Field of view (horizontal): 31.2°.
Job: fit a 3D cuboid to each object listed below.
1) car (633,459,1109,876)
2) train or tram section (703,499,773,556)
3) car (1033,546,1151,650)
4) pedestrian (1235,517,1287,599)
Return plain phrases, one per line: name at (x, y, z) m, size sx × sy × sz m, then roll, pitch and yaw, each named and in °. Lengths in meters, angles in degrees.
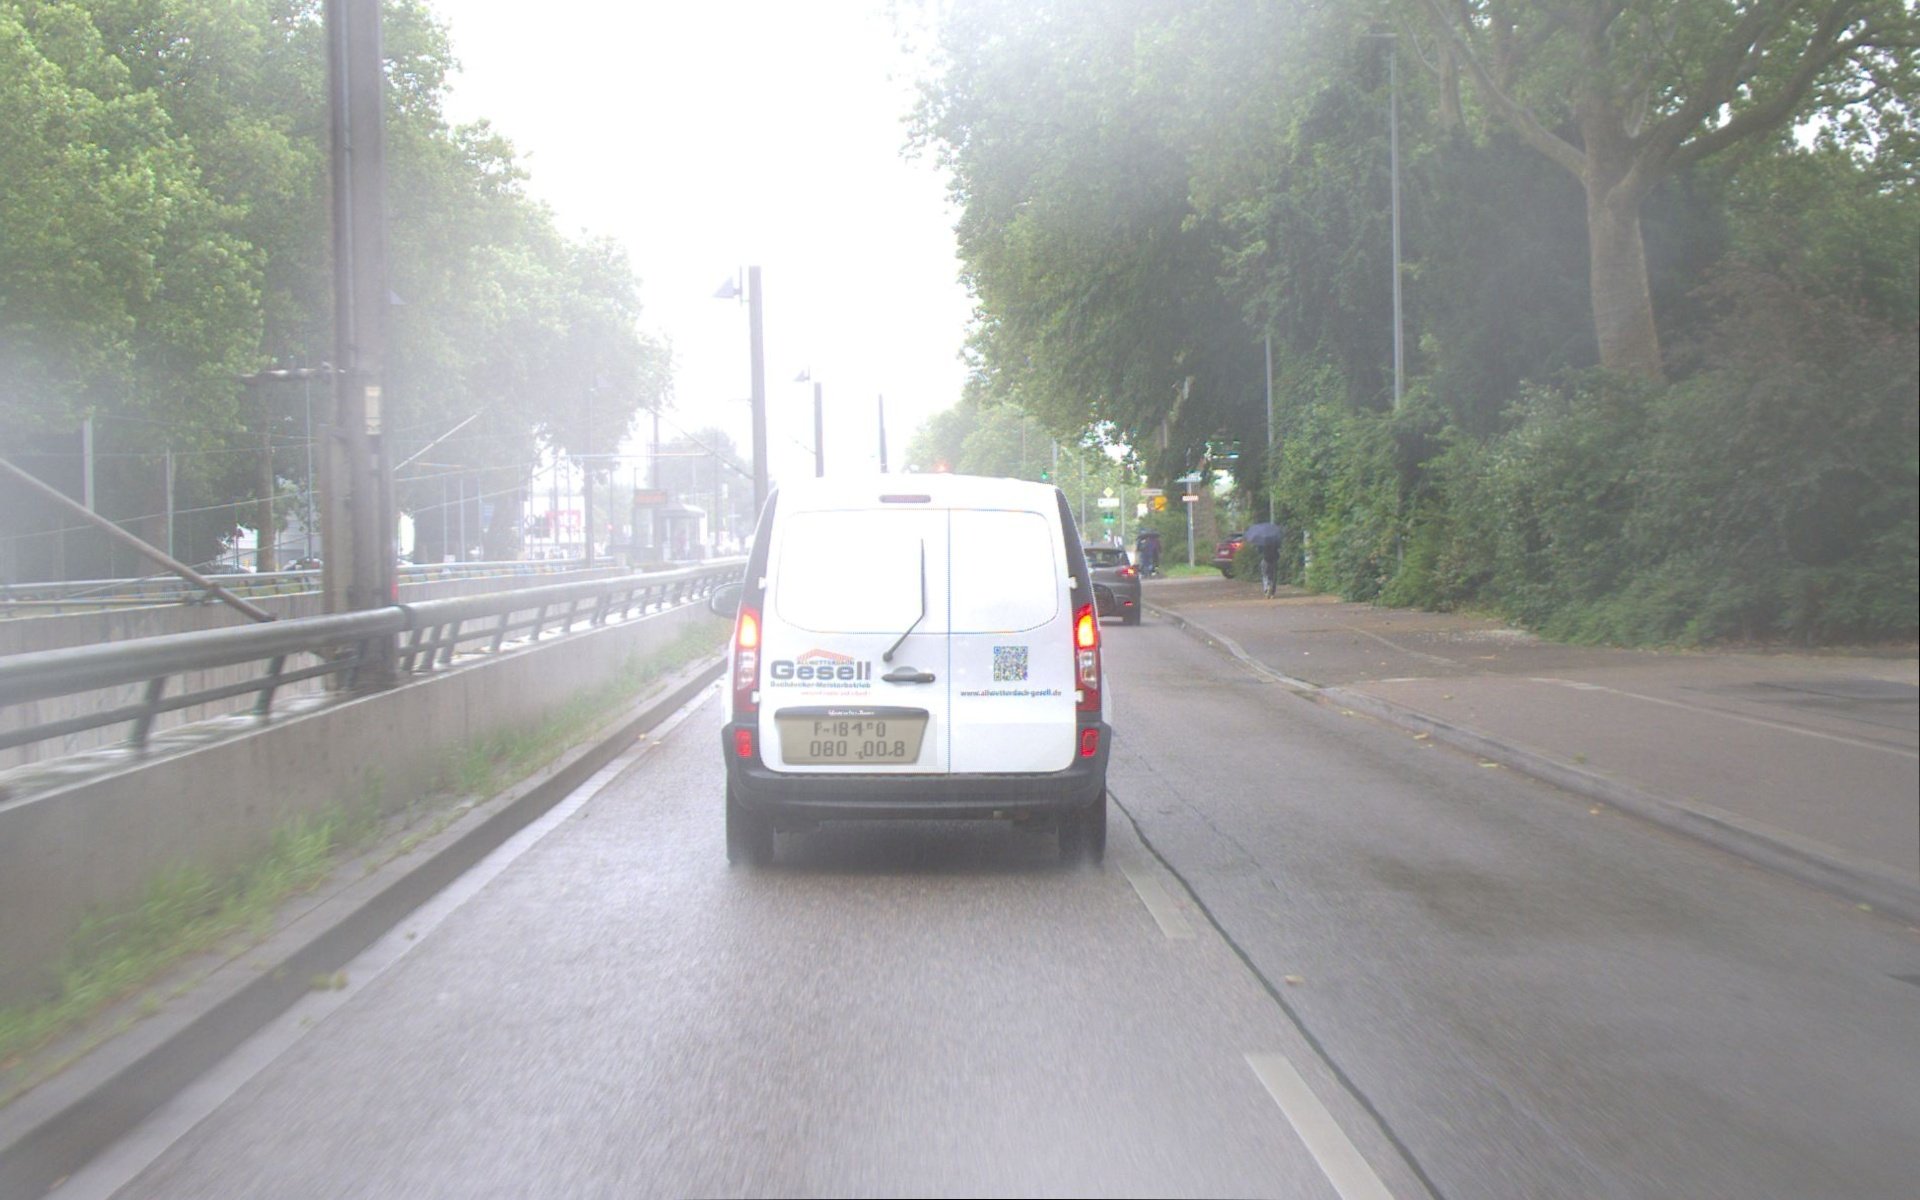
car at (-0.427, 0.258, 16.936) m, size 2.025 × 1.769 × 4.274 m, roll 1°, pitch 1°, yaw -1°
train or tram section at (-16.479, -5.358, 257.561) m, size 3.770 × 4.022 × 27.095 m, roll 1°, pitch 1°, yaw -1°
car at (2.321, -0.066, 60.616) m, size 1.993 × 1.744 × 4.000 m, roll 1°, pitch 1°, yaw 2°
pedestrian at (6.319, -0.889, 72.227) m, size 0.967 × 1.696 × 1.141 m, roll 1°, pitch 1°, yaw 0°
